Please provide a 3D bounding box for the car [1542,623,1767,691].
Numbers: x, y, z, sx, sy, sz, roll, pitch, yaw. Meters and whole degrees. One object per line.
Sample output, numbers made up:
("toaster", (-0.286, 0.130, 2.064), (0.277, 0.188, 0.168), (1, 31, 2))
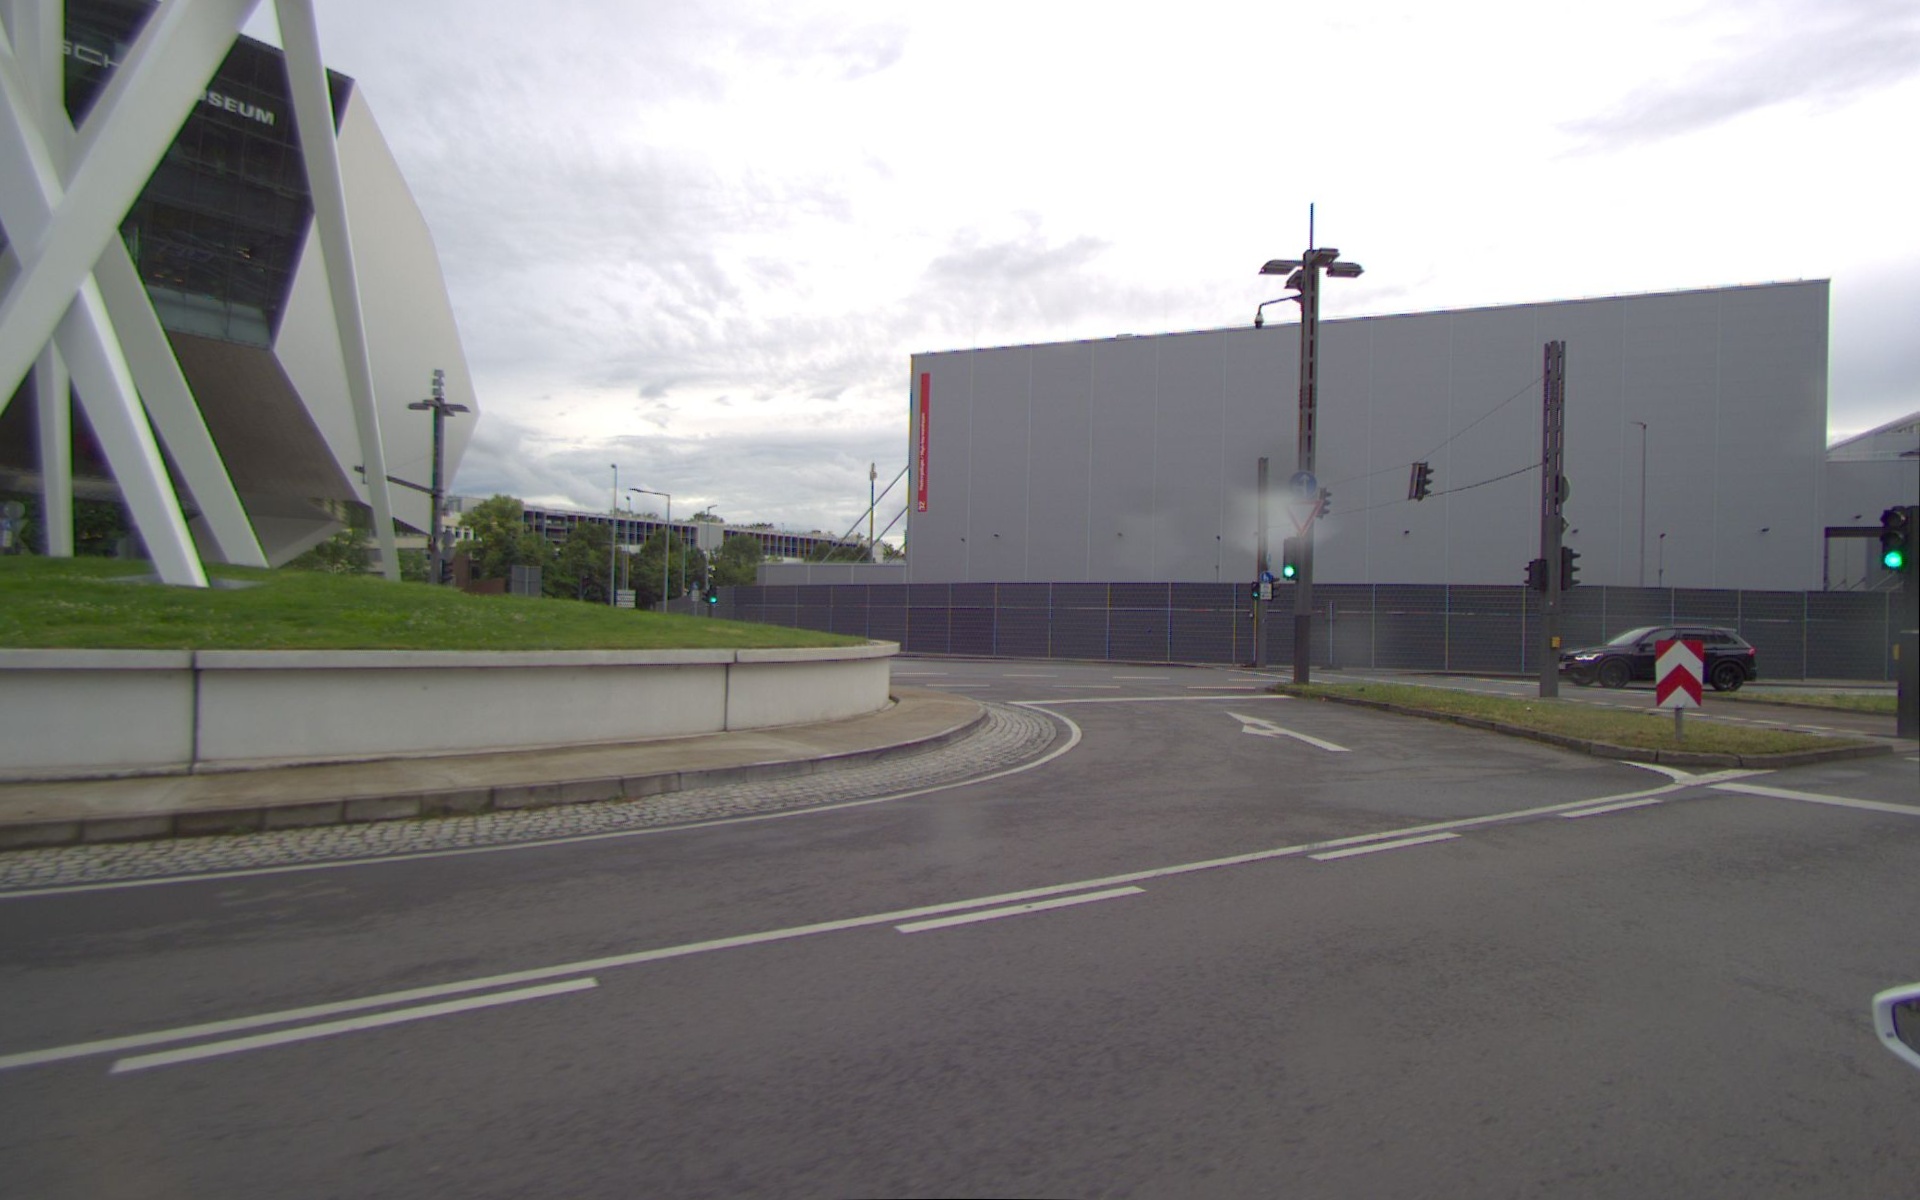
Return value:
("car", (17.901, 1.442, 26.086), (4.473, 1.609, 1.790), (1, -1, 7))
